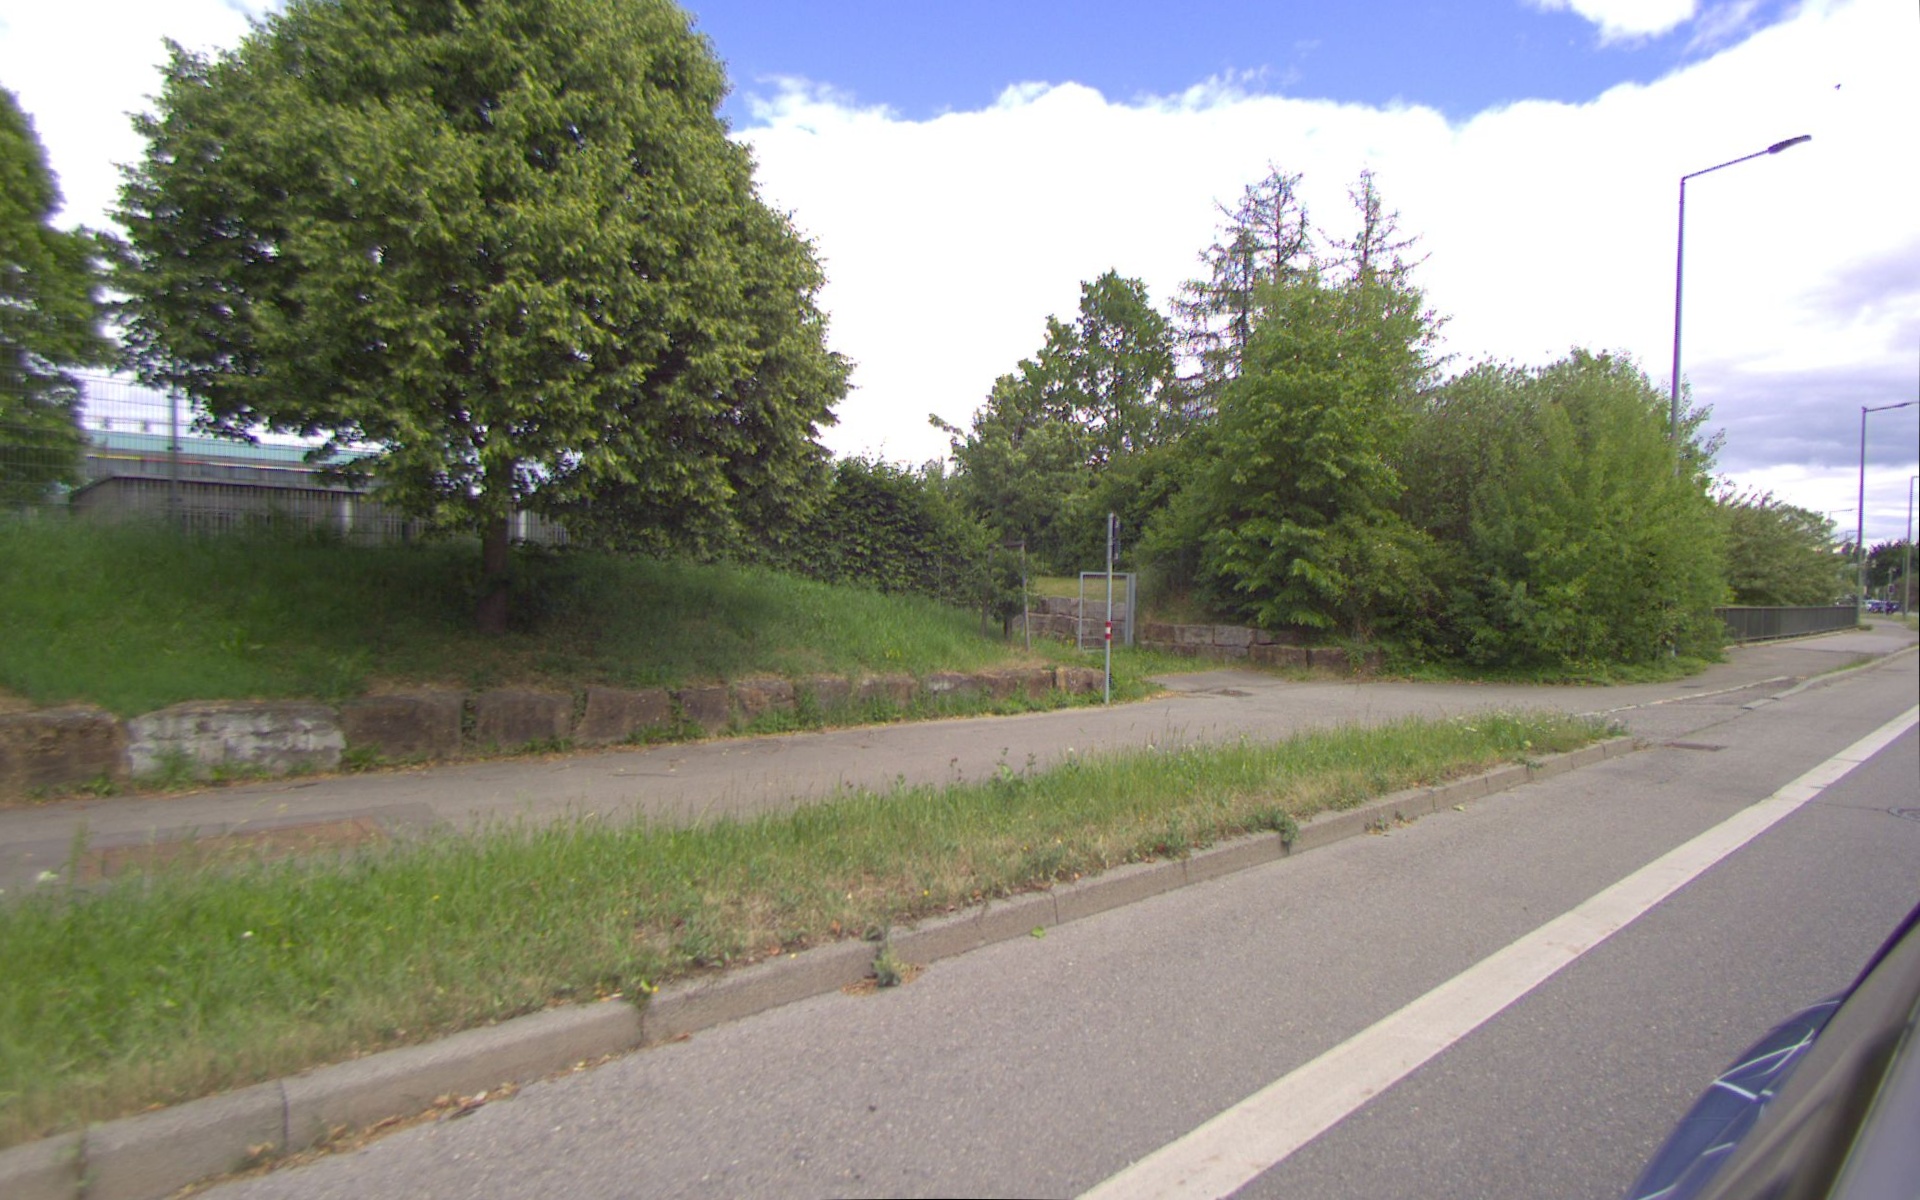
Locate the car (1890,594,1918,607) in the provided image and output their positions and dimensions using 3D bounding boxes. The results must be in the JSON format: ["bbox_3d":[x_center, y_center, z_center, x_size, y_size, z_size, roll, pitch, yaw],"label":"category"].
[{"bbox_3d":[110.435,0.026,118.447,1.725,1.459,4.315,0,0,34],"label":"car"}]
